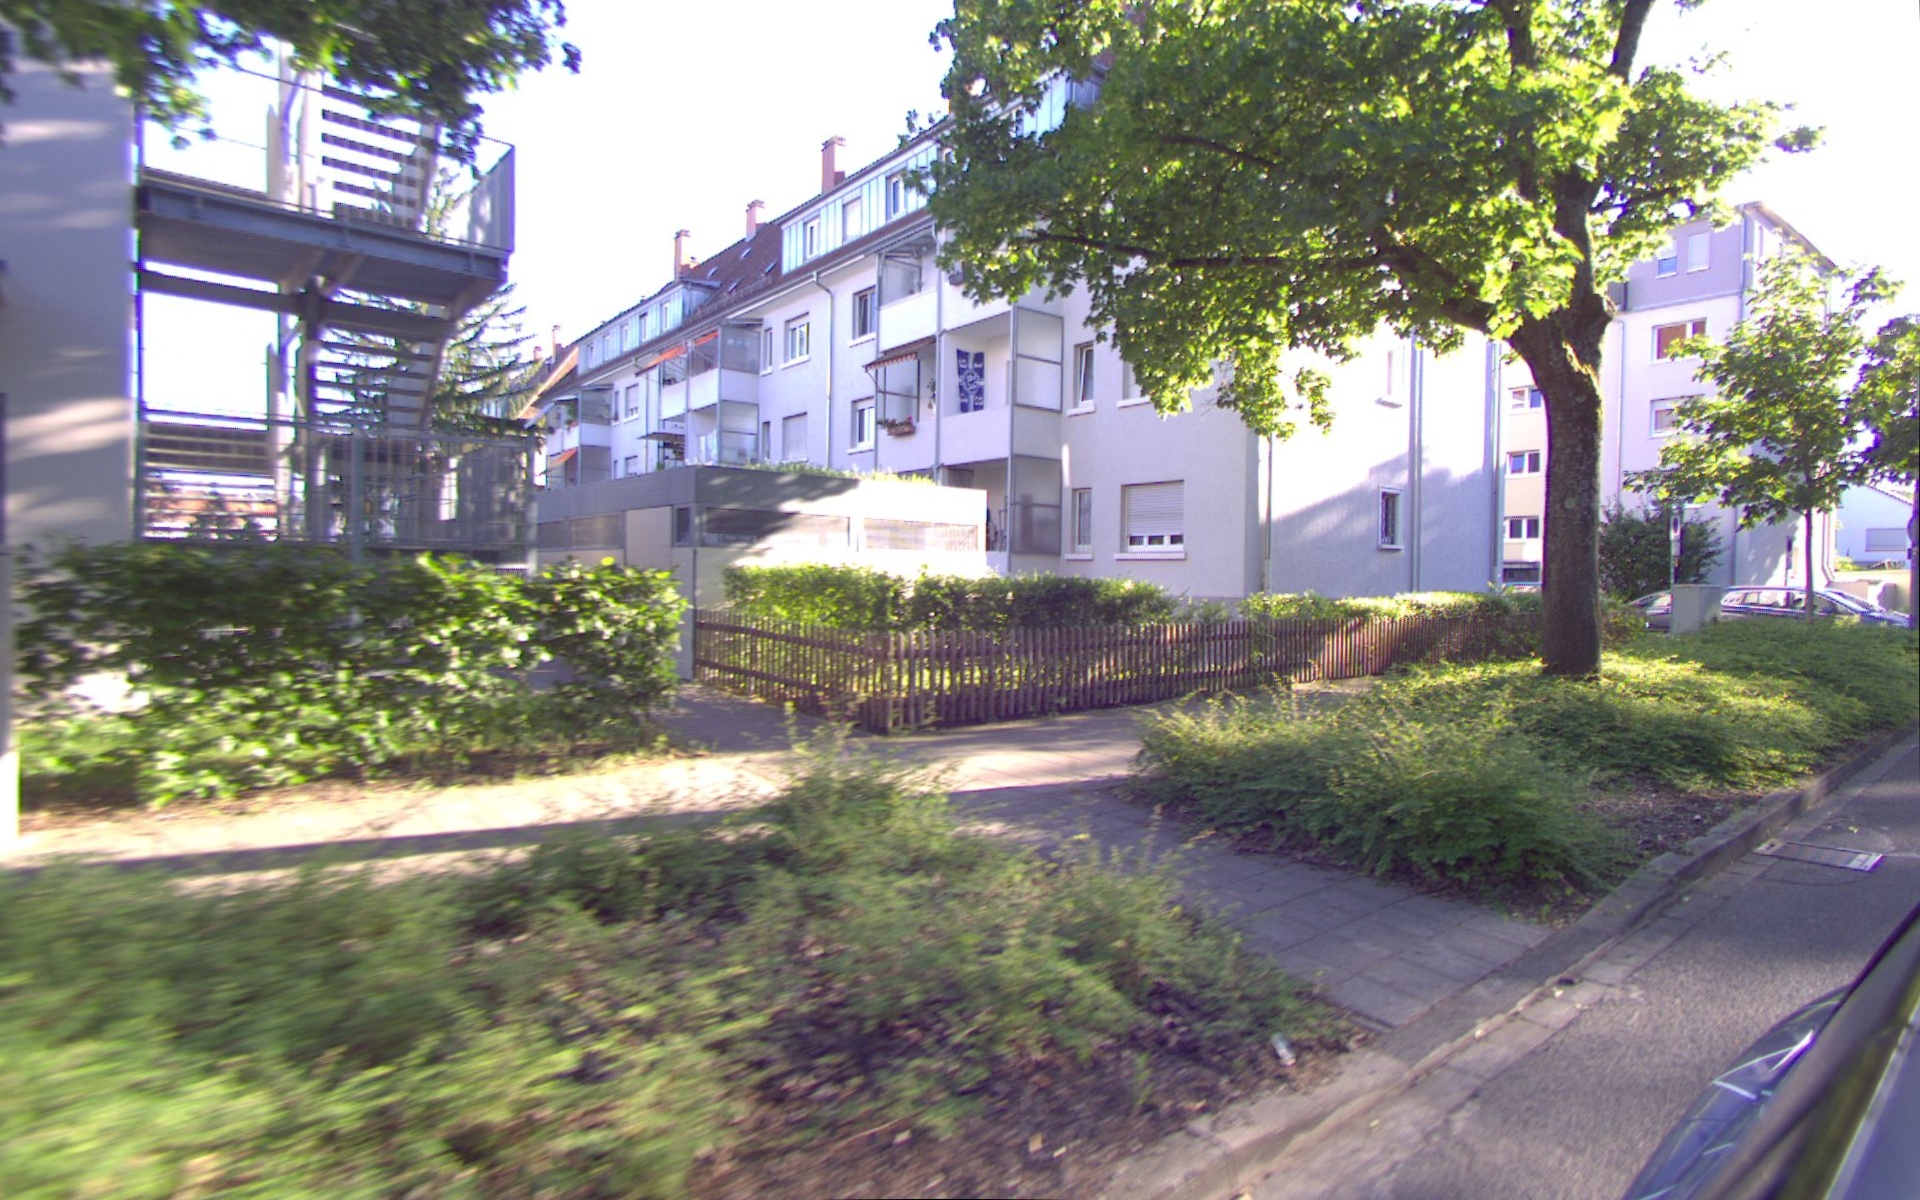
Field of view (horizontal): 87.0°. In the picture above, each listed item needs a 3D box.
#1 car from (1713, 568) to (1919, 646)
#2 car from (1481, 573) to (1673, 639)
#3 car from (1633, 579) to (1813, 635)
[{"bbox_3d":[20.614,0.164,23.828,1.734,1.695,4.282,0,0,-30],"label":"car"},{"bbox_3d":[16.281,0.113,26.866,1.778,1.601,3.995,1,0,-40],"label":"car"},{"bbox_3d":[22.866,0.171,30.451,1.696,1.533,4.050,-2,2,-39],"label":"car"}]
